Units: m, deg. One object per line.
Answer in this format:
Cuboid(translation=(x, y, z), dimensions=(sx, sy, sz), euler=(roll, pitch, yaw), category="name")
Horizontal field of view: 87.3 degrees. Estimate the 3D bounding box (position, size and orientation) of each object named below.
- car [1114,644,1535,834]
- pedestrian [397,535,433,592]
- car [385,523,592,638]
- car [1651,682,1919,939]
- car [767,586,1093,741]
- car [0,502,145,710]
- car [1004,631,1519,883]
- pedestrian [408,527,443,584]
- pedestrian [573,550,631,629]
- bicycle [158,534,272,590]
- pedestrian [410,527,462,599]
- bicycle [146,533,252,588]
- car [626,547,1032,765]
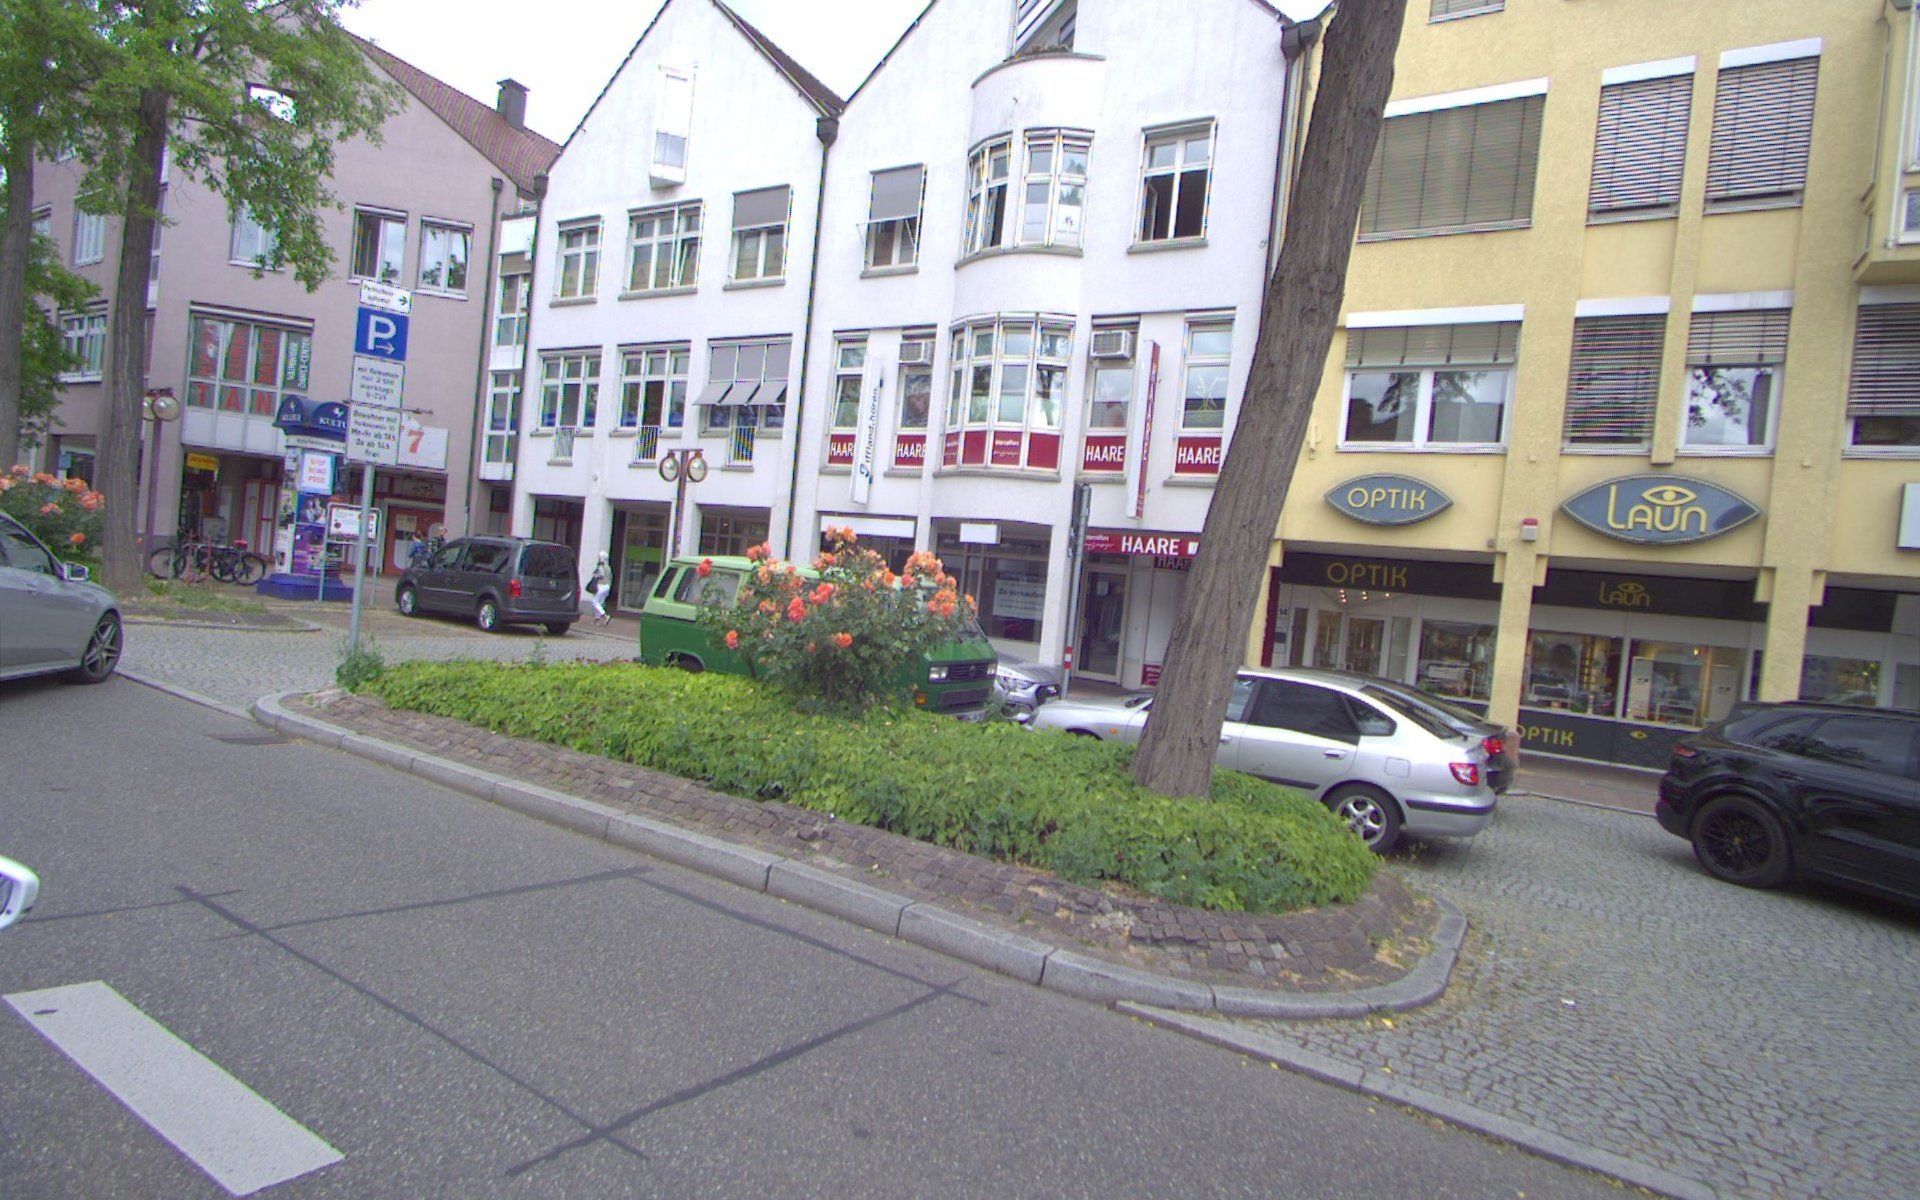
Cuboid(translation=(4.312, 1.494, 12.073), dimensions=(4.344, 1.394, 1.999), euler=(7, 1, 30), category="car")
Cuboid(translation=(-15.487, -1.023, 28.595), dimensions=(0.612, 1.534, 0.610), euler=(7, 1, -14), category="pedestrian")
Cuboid(translation=(-9.542, -0.405, 20.304), dimensions=(3.898, 1.855, 1.639), euler=(7, 1, 27), category="car")
Cuboid(translation=(8.239, 1.806, 7.618), dimensions=(1.832, 1.692, 4.641), euler=(6, 1, -20), category="car")
Cuboid(translation=(-0.490, 0.830, 14.585), dimensions=(4.320, 1.562, 1.797), euler=(7, 1, 30), category="car")
Cuboid(translation=(-7.608, -0.071, 6.932), dimensions=(1.798, 1.465, 4.348), euler=(8, -2, -23), category="car")
Cuboid(translation=(2.814, 1.308, 9.670), dimensions=(4.344, 1.468, 1.765), euler=(7, 0, 30), category="car")
Cuboid(translation=(-15.582, -1.293, 29.331), dimensions=(0.612, 1.583, 0.663), euler=(7, 1, -13), category="pedestrian")
Cuboid(translation=(-8.114, -0.231, 22.791), dimensions=(0.805, 1.682, 0.789), euler=(7, 3, 31), category="pedestrian")
Cuboid(translation=(-16.347, -0.820, 22.130), dimensions=(0.460, 1.009, 1.901), euler=(7, 0, 36), category="bicycle")
Cuboid(translation=(-14.212, -1.004, 27.284), dimensions=(0.805, 1.815, 0.790), euler=(7, 1, 31), category="pedestrian")
Cuboid(translation=(-16.860, -0.864, 22.334), dimensions=(0.440, 1.009, 1.769), euler=(7, 0, 36), category="bicycle")
Cuboid(translation=(-1.659, 0.552, 12.192), dimensions=(4.527, 1.900, 1.882), euler=(7, 2, 30), category="car")
